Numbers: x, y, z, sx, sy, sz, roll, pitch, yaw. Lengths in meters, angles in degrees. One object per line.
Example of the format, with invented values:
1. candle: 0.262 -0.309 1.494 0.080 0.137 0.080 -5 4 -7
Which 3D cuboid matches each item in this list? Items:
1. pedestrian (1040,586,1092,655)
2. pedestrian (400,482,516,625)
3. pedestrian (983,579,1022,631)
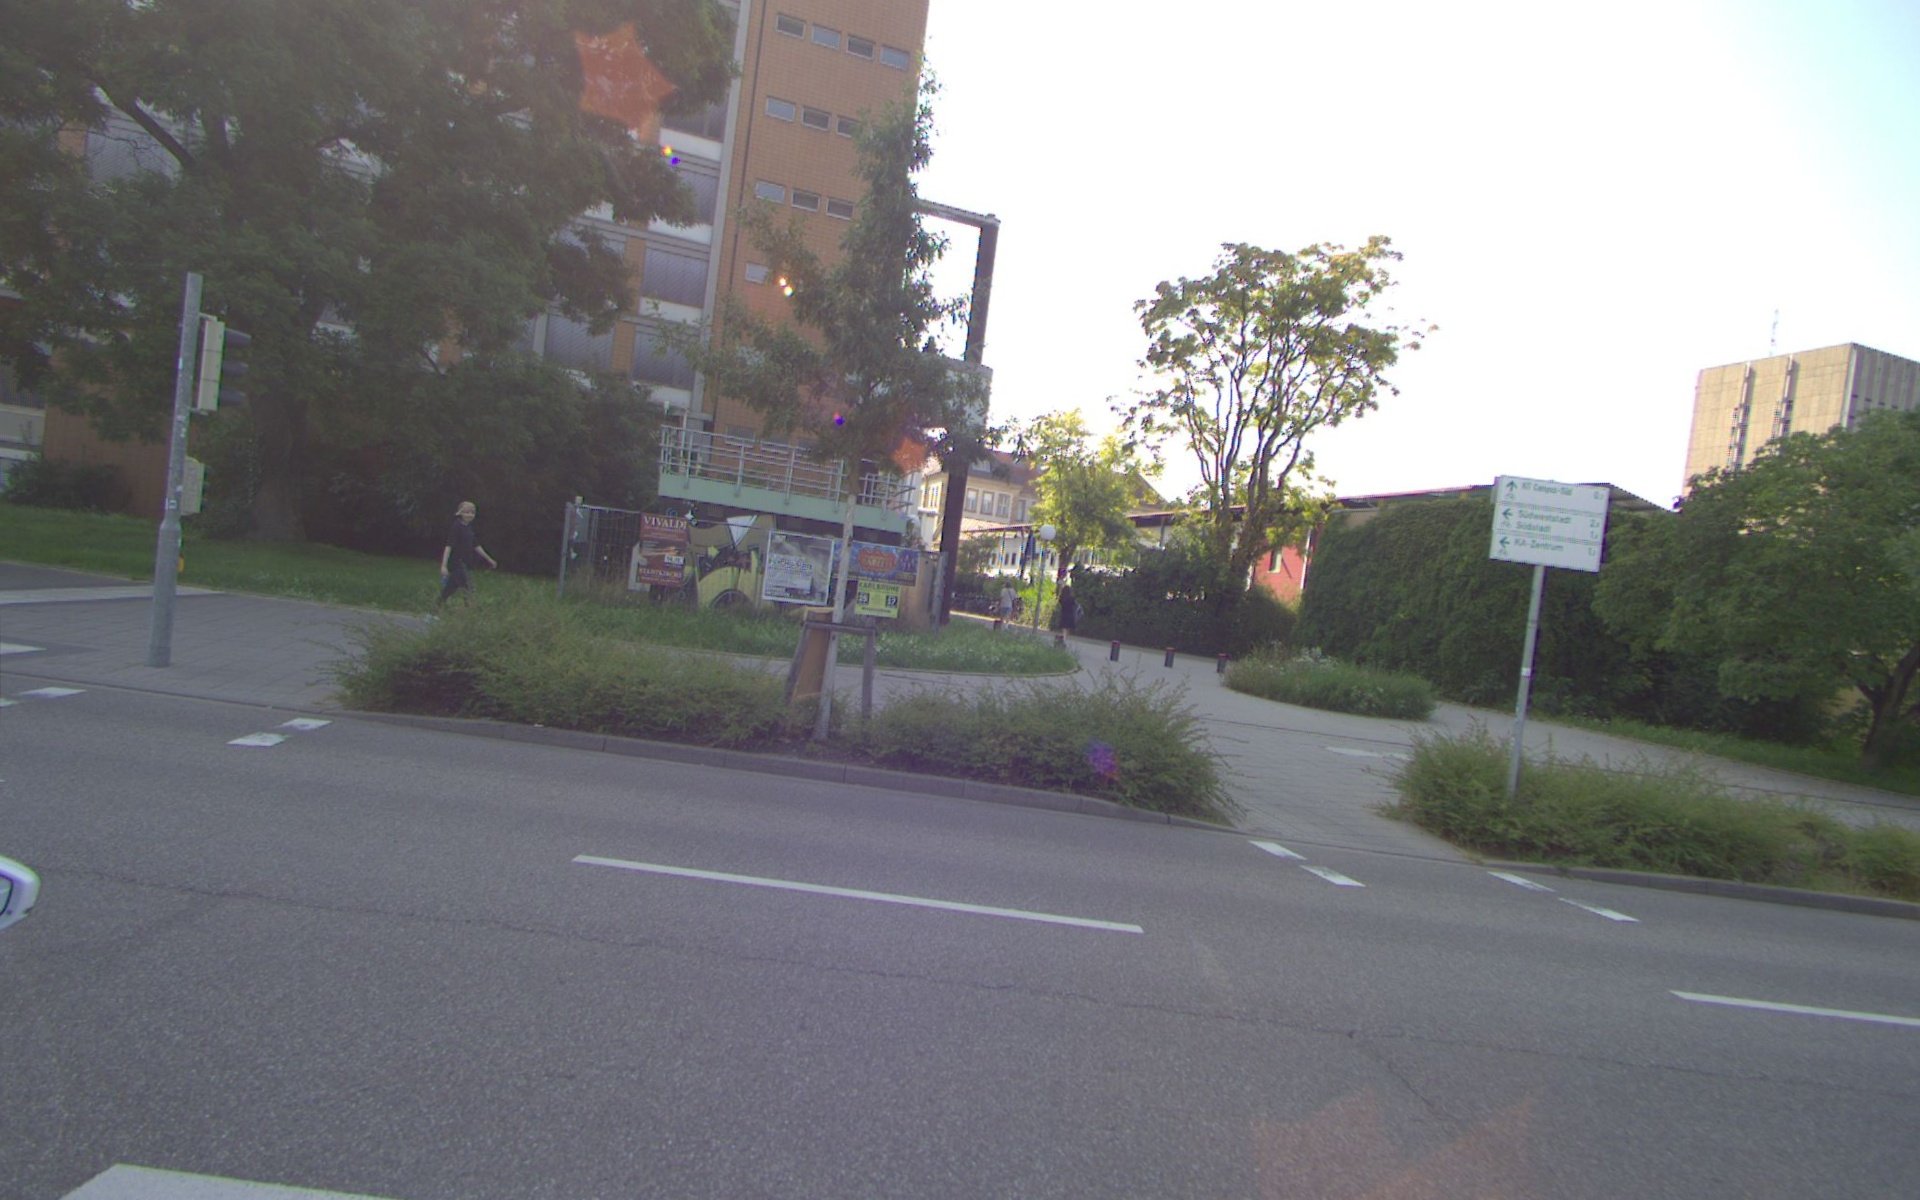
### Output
1. pedestrian: 2.933 0.557 27.919 0.945 1.758 0.999 7 3 -13
2. pedestrian: -6.959 -0.642 13.997 0.984 1.807 0.959 7 3 -2
3. pedestrian: 1.486 0.168 35.291 1.060 1.618 1.316 7 3 -4
